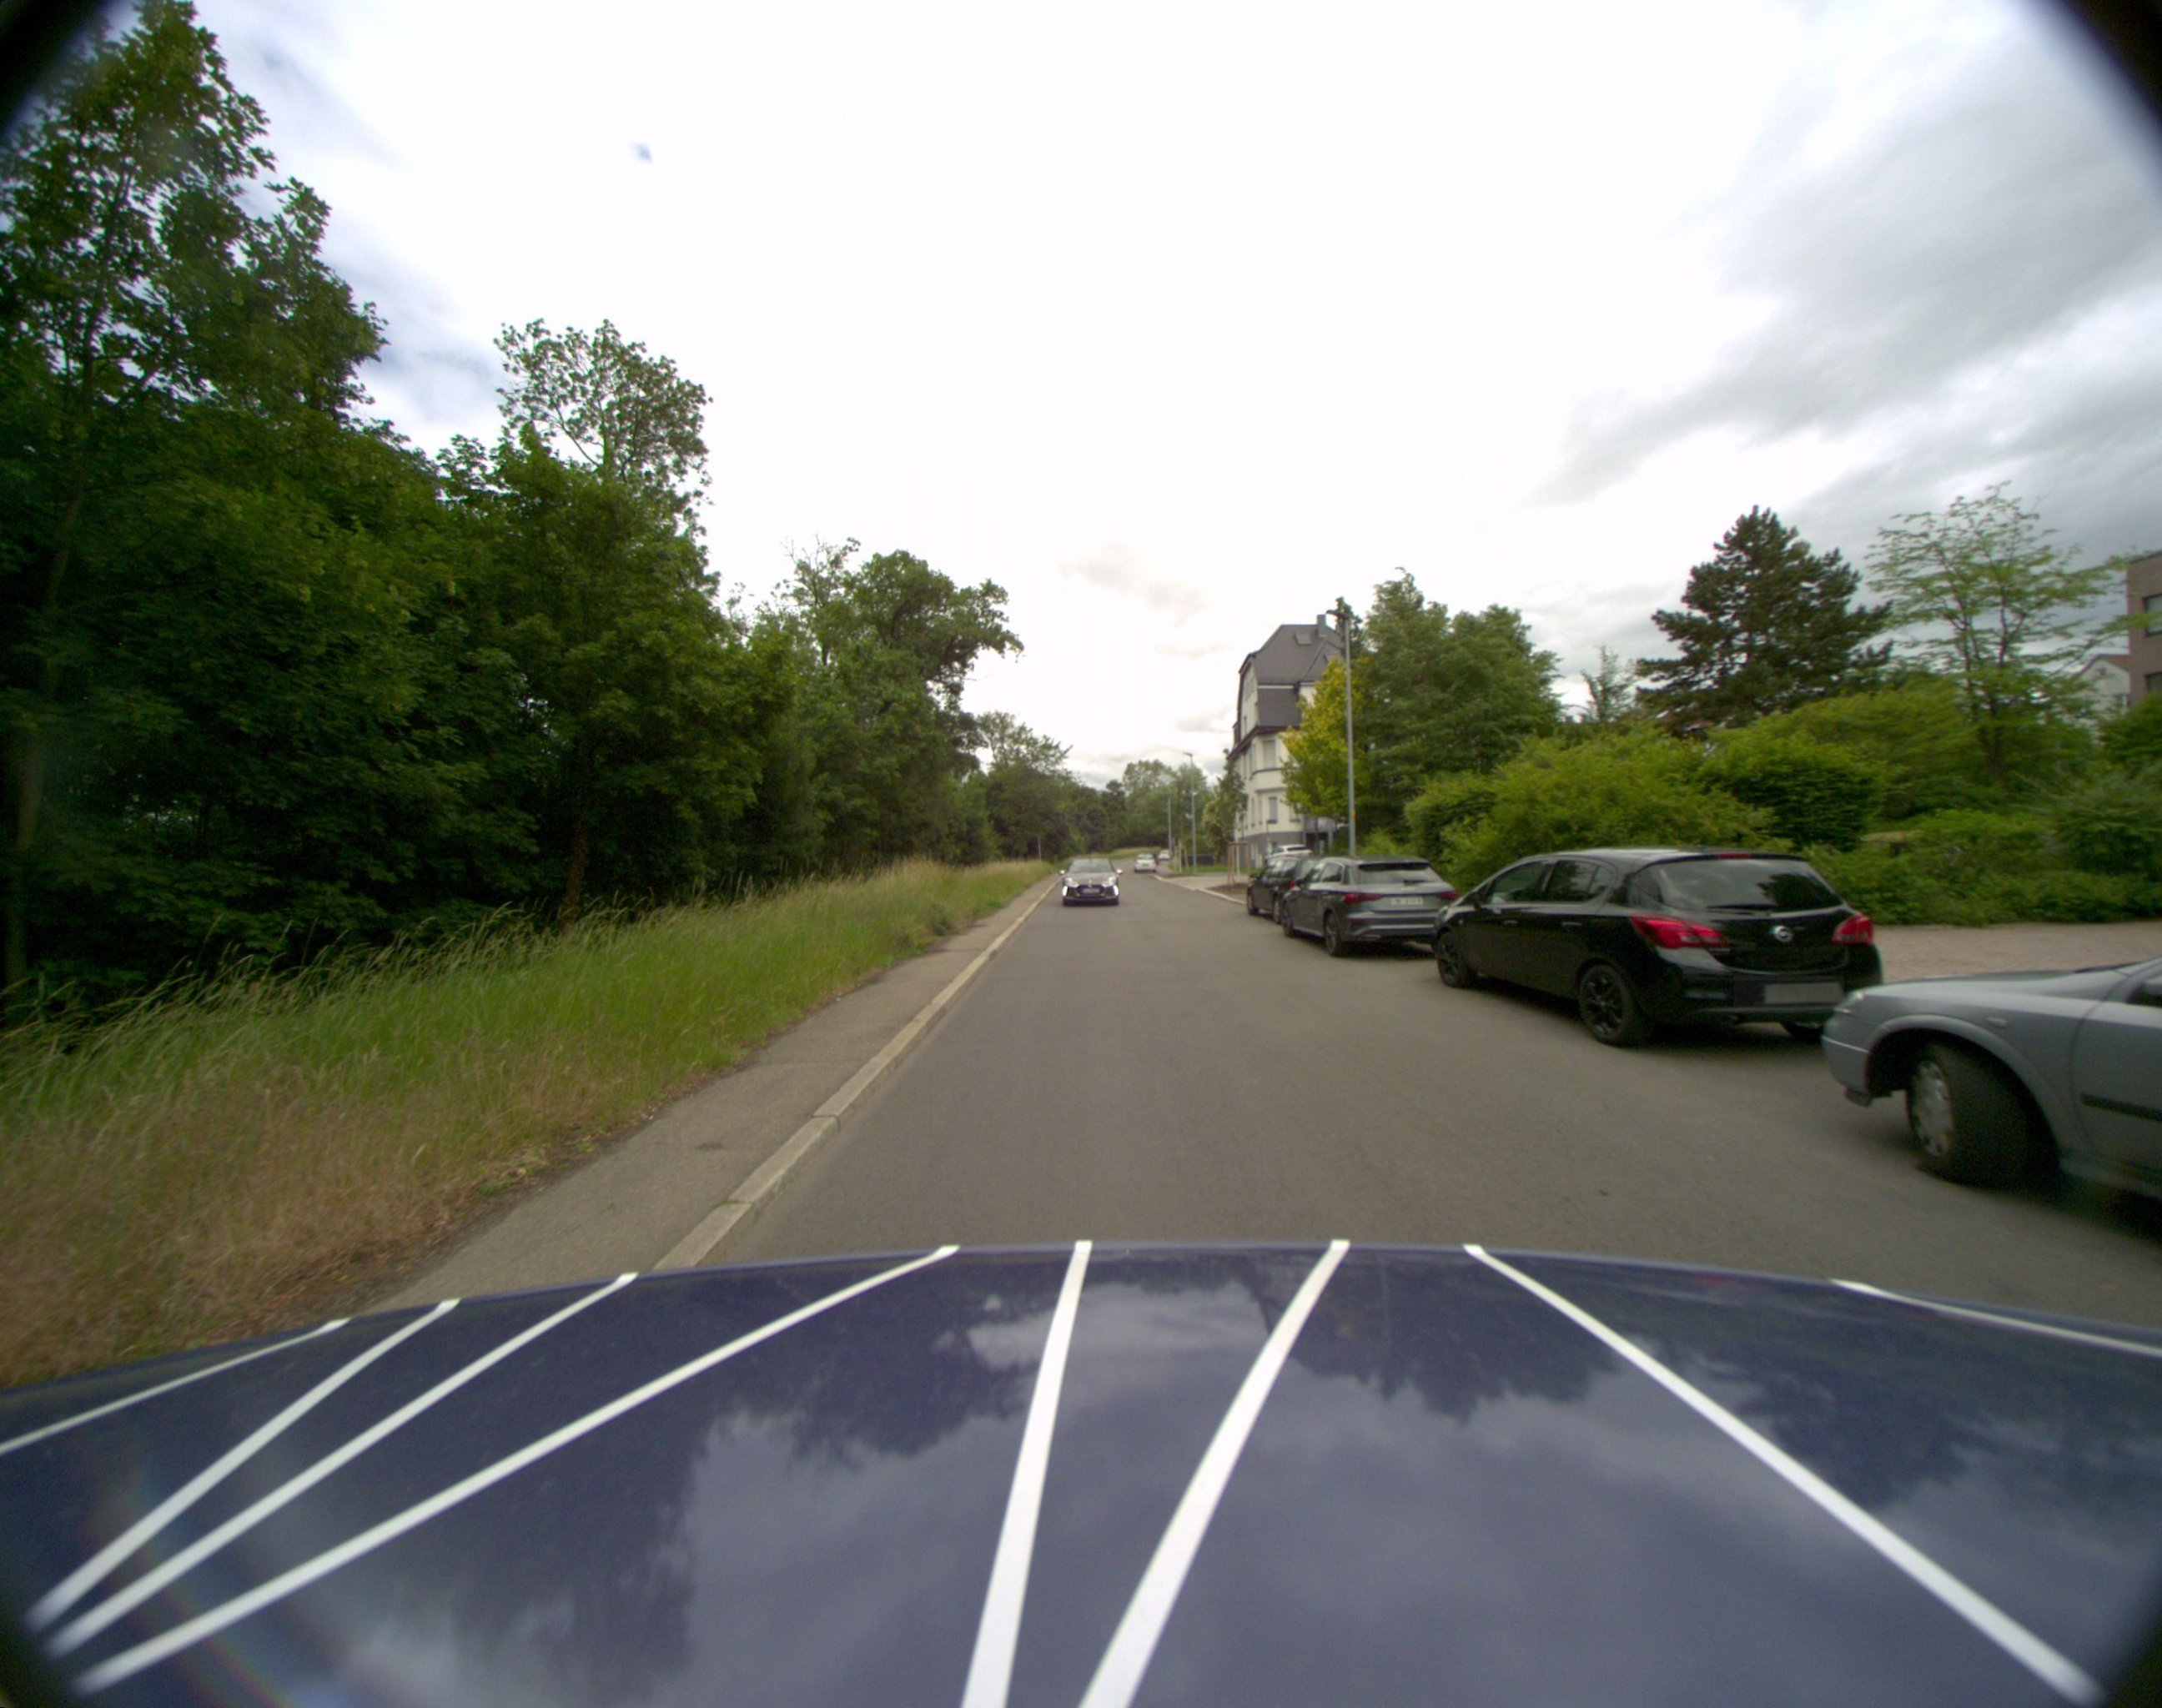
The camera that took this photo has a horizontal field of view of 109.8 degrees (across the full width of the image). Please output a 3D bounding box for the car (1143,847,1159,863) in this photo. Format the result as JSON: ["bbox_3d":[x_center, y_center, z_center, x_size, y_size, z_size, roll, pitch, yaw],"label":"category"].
[{"bbox_3d":[8.517,0.124,92.204,1.799,1.790,4.066,0,1,8],"label":"car"}]

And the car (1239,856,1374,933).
[{"bbox_3d":[4.871,0.789,17.113,1.687,1.474,4.693,-1,0,1],"label":"car"}]

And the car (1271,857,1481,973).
[{"bbox_3d":[4.407,0.804,12.147,1.710,1.474,4.496,-1,0,1],"label":"car"}]

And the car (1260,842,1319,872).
[{"bbox_3d":[12.472,0.131,45.732,1.911,1.524,4.594,-4,2,-4],"label":"car"}]

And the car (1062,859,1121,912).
[{"bbox_3d":[0.384,0.879,23.190,1.619,1.460,4.001,0,0,3],"label":"car"}]

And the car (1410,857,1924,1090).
[{"bbox_3d":[4.656,0.782,6.921,1.628,1.474,4.000,-1,0,1],"label":"car"}]

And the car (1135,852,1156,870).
[{"bbox_3d":[5.442,0.601,64.037,1.646,1.461,4.072,0,0,3],"label":"car"}]

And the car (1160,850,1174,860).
[{"bbox_3d":[13.047,0.107,115.455,1.735,1.420,3.460,0,1,12],"label":"car"}]

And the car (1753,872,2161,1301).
[{"bbox_3d":[4.540,0.826,2.029,1.628,1.423,4.350,-1,0,0],"label":"car"}]
